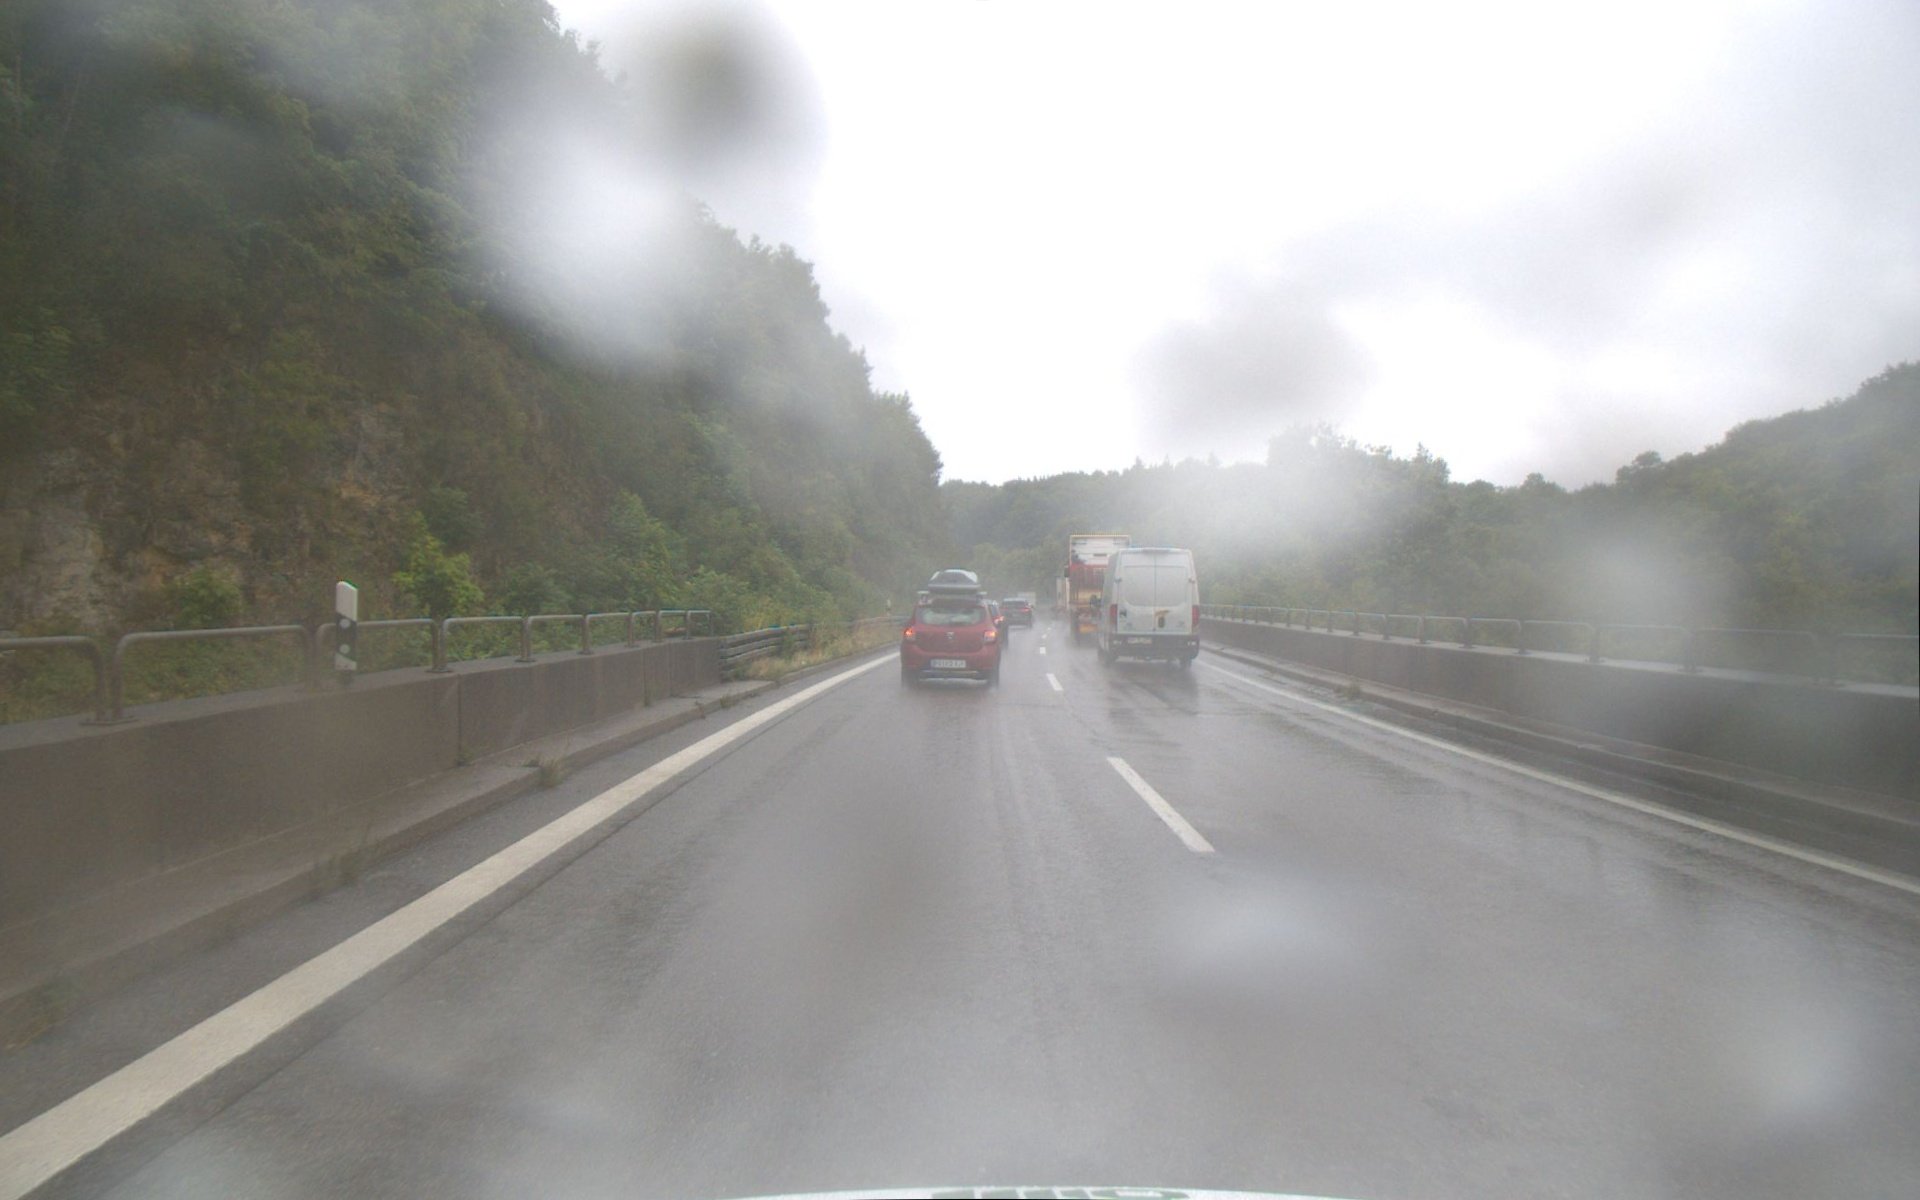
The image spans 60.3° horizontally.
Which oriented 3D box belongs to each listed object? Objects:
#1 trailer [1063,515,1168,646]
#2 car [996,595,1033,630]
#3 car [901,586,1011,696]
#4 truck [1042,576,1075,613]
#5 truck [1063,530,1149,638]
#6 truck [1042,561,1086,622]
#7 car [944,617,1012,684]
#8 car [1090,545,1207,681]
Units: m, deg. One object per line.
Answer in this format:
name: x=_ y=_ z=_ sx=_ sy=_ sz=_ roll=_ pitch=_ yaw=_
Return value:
trailer: x=5.336 y=-0.591 z=59.039 sx=3.151 sy=4.069 sz=13.529 roll=-1 pitch=0 yaw=3
car: x=2.896 y=0.691 z=88.553 sx=1.836 sy=1.735 sz=3.889 roll=-3 pitch=-1 yaw=2
car: x=-0.036 y=0.687 z=29.051 sx=1.722 sy=1.714 sz=4.000 roll=-3 pitch=-1 yaw=1
truck: x=9.380 y=-0.522 z=157.937 sx=2.998 sy=3.370 sz=8.073 roll=1 pitch=0 yaw=2
truck: x=5.701 y=-0.592 z=65.383 sx=3.152 sy=4.047 sz=5.441 roll=-1 pitch=0 yaw=3
truck: x=7.580 y=-0.556 z=121.251 sx=2.632 sy=4.165 sz=9.316 roll=-3 pitch=-1 yaw=1
car: x=0.520 y=1.434 z=47.829 sx=1.795 sy=1.745 sz=3.645 roll=-3 pitch=-1 yaw=1
car: x=4.230 y=0.281 z=38.277 sx=2.160 sy=2.843 sz=7.384 roll=0 pitch=0 yaw=2
